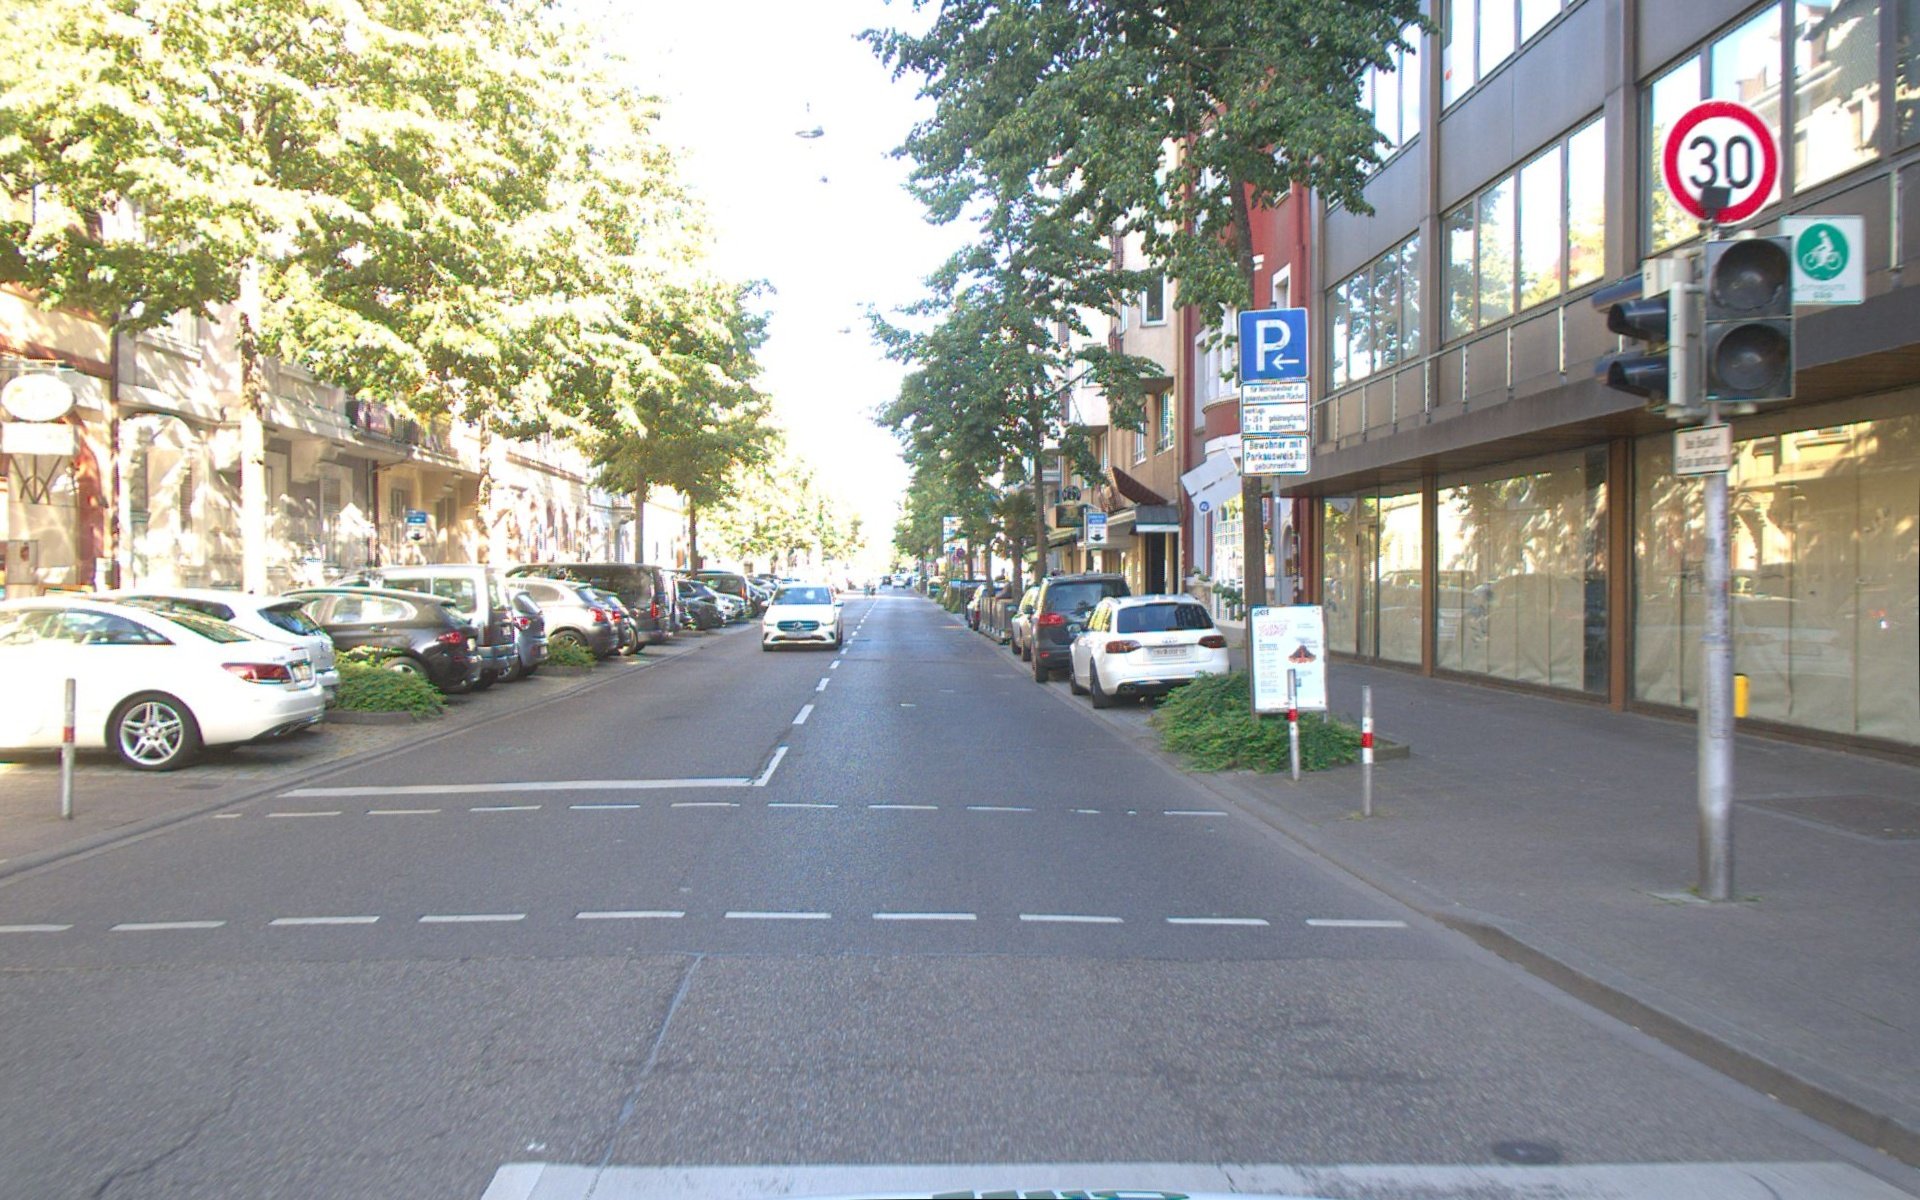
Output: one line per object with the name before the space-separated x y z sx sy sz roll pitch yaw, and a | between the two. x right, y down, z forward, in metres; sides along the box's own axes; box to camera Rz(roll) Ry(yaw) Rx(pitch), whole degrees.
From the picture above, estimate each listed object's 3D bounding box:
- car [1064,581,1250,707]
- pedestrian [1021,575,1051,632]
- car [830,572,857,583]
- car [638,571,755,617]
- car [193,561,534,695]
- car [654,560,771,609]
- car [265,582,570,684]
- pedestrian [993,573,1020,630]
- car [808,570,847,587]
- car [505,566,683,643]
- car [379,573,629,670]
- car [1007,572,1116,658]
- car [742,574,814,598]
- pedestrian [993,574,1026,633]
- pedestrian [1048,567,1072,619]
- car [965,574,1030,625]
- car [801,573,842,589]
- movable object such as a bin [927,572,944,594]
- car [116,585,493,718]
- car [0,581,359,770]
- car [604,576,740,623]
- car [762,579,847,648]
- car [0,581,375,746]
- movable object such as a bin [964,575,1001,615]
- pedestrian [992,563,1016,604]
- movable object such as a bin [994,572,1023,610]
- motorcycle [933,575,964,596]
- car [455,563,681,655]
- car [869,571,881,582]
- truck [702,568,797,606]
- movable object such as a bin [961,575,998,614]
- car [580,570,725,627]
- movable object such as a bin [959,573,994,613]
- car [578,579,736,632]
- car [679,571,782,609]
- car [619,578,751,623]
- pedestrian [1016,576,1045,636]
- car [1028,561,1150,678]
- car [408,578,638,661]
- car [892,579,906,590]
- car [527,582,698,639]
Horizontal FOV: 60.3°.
car | 2.593 0.517 22.866 1.785 1.427 4.840 -3 1 -2
pedestrian | 2.136 0.088 46.297 0.696 1.563 0.770 -1 1 12
car | -17.014 -3.291 242.067 3.908 1.526 1.999 -1 1 -4
car | -10.499 -0.238 66.027 4.375 1.803 1.916 0 1 -1
car | -8.563 0.382 24.031 4.251 1.856 1.930 0 1 -1
car | -10.303 -0.658 69.016 4.585 1.984 1.916 0 1 -1
car | -8.656 0.498 26.627 4.249 1.571 1.917 0 1 2
pedestrian | 1.304 0.046 46.286 0.637 1.563 0.979 -1 1 -4
car | -13.965 -2.299 174.435 3.904 1.723 2.001 -1 1 2
car | -9.135 0.079 41.483 4.263 1.866 1.911 0 1 -13
car | -8.539 0.373 31.285 4.254 1.763 1.915 0 1 -5
car | 2.119 0.268 35.644 1.786 1.624 4.840 -3 1 -2
car | -11.747 -0.903 106.855 4.590 1.490 1.806 0 1 -6
pedestrian | 1.353 0.096 44.989 0.733 1.563 0.808 -1 1 12
pedestrian | 3.367 -0.229 55.672 0.499 1.725 0.621 -1 1 -39
car | 1.215 -0.048 55.038 1.786 1.497 4.910 -3 1 -2
car | -13.472 -1.844 161.542 3.908 1.414 1.999 -1 1 -4
movable object such as a bin | -1.844 -1.258 124.025 1.118 1.589 1.460 -1 1 6
car | -8.276 0.609 21.321 4.266 1.571 1.957 0 1 -14
car | -7.855 0.615 14.310 4.610 1.518 1.997 1 -1 -7
car | -9.809 -0.033 56.631 4.377 1.568 1.915 0 1 -3
car | -3.691 0.271 39.950 1.872 1.571 4.351 0 1 -3
car | -8.547 0.604 16.727 4.610 1.518 1.997 1 1 -7
movable object such as a bin | 0.856 -0.192 63.566 1.371 1.479 1.145 -1 1 -2
pedestrian | 2.117 -0.789 78.870 0.906 1.969 0.761 -1 1 23
movable object such as a bin | 1.925 -0.362 65.967 1.056 1.456 1.295 -1 1 -2
motorcycle | -0.817 -1.013 113.732 1.944 1.353 0.908 -1 1 -15
car | -8.540 0.185 36.286 4.480 1.960 1.930 0 1 0
car | -12.540 -3.434 243.581 1.767 1.460 4.407 -3 1 -3
truck | -11.536 -0.724 90.843 4.983 1.972 1.999 -1 1 -3
movable object such as a bin | 0.740 -0.238 64.744 1.371 1.479 1.145 -1 1 -2
car | -9.652 -0.058 52.170 4.252 1.739 1.916 0 1 -3
movable object such as a bin | 0.645 -0.292 65.904 1.304 1.569 1.145 -1 1 -2
car | -9.055 0.146 49.711 4.375 1.568 1.916 0 1 -1
car | -10.739 -0.481 77.737 4.585 1.742 1.808 0 1 -1
car | -9.830 0.007 59.388 4.374 1.568 1.917 0 1 1
pedestrian | 1.869 0.148 43.895 0.679 1.563 0.776 -1 1 -2
car | 2.188 0.266 29.279 1.784 1.808 4.932 -3 1 1
car | -8.838 0.374 33.746 4.254 1.623 1.915 0 1 -5
car | -8.148 -2.040 220.753 1.756 1.436 3.998 -1 1 -3
car | -9.249 0.265 44.350 4.254 1.464 1.915 0 1 -5
